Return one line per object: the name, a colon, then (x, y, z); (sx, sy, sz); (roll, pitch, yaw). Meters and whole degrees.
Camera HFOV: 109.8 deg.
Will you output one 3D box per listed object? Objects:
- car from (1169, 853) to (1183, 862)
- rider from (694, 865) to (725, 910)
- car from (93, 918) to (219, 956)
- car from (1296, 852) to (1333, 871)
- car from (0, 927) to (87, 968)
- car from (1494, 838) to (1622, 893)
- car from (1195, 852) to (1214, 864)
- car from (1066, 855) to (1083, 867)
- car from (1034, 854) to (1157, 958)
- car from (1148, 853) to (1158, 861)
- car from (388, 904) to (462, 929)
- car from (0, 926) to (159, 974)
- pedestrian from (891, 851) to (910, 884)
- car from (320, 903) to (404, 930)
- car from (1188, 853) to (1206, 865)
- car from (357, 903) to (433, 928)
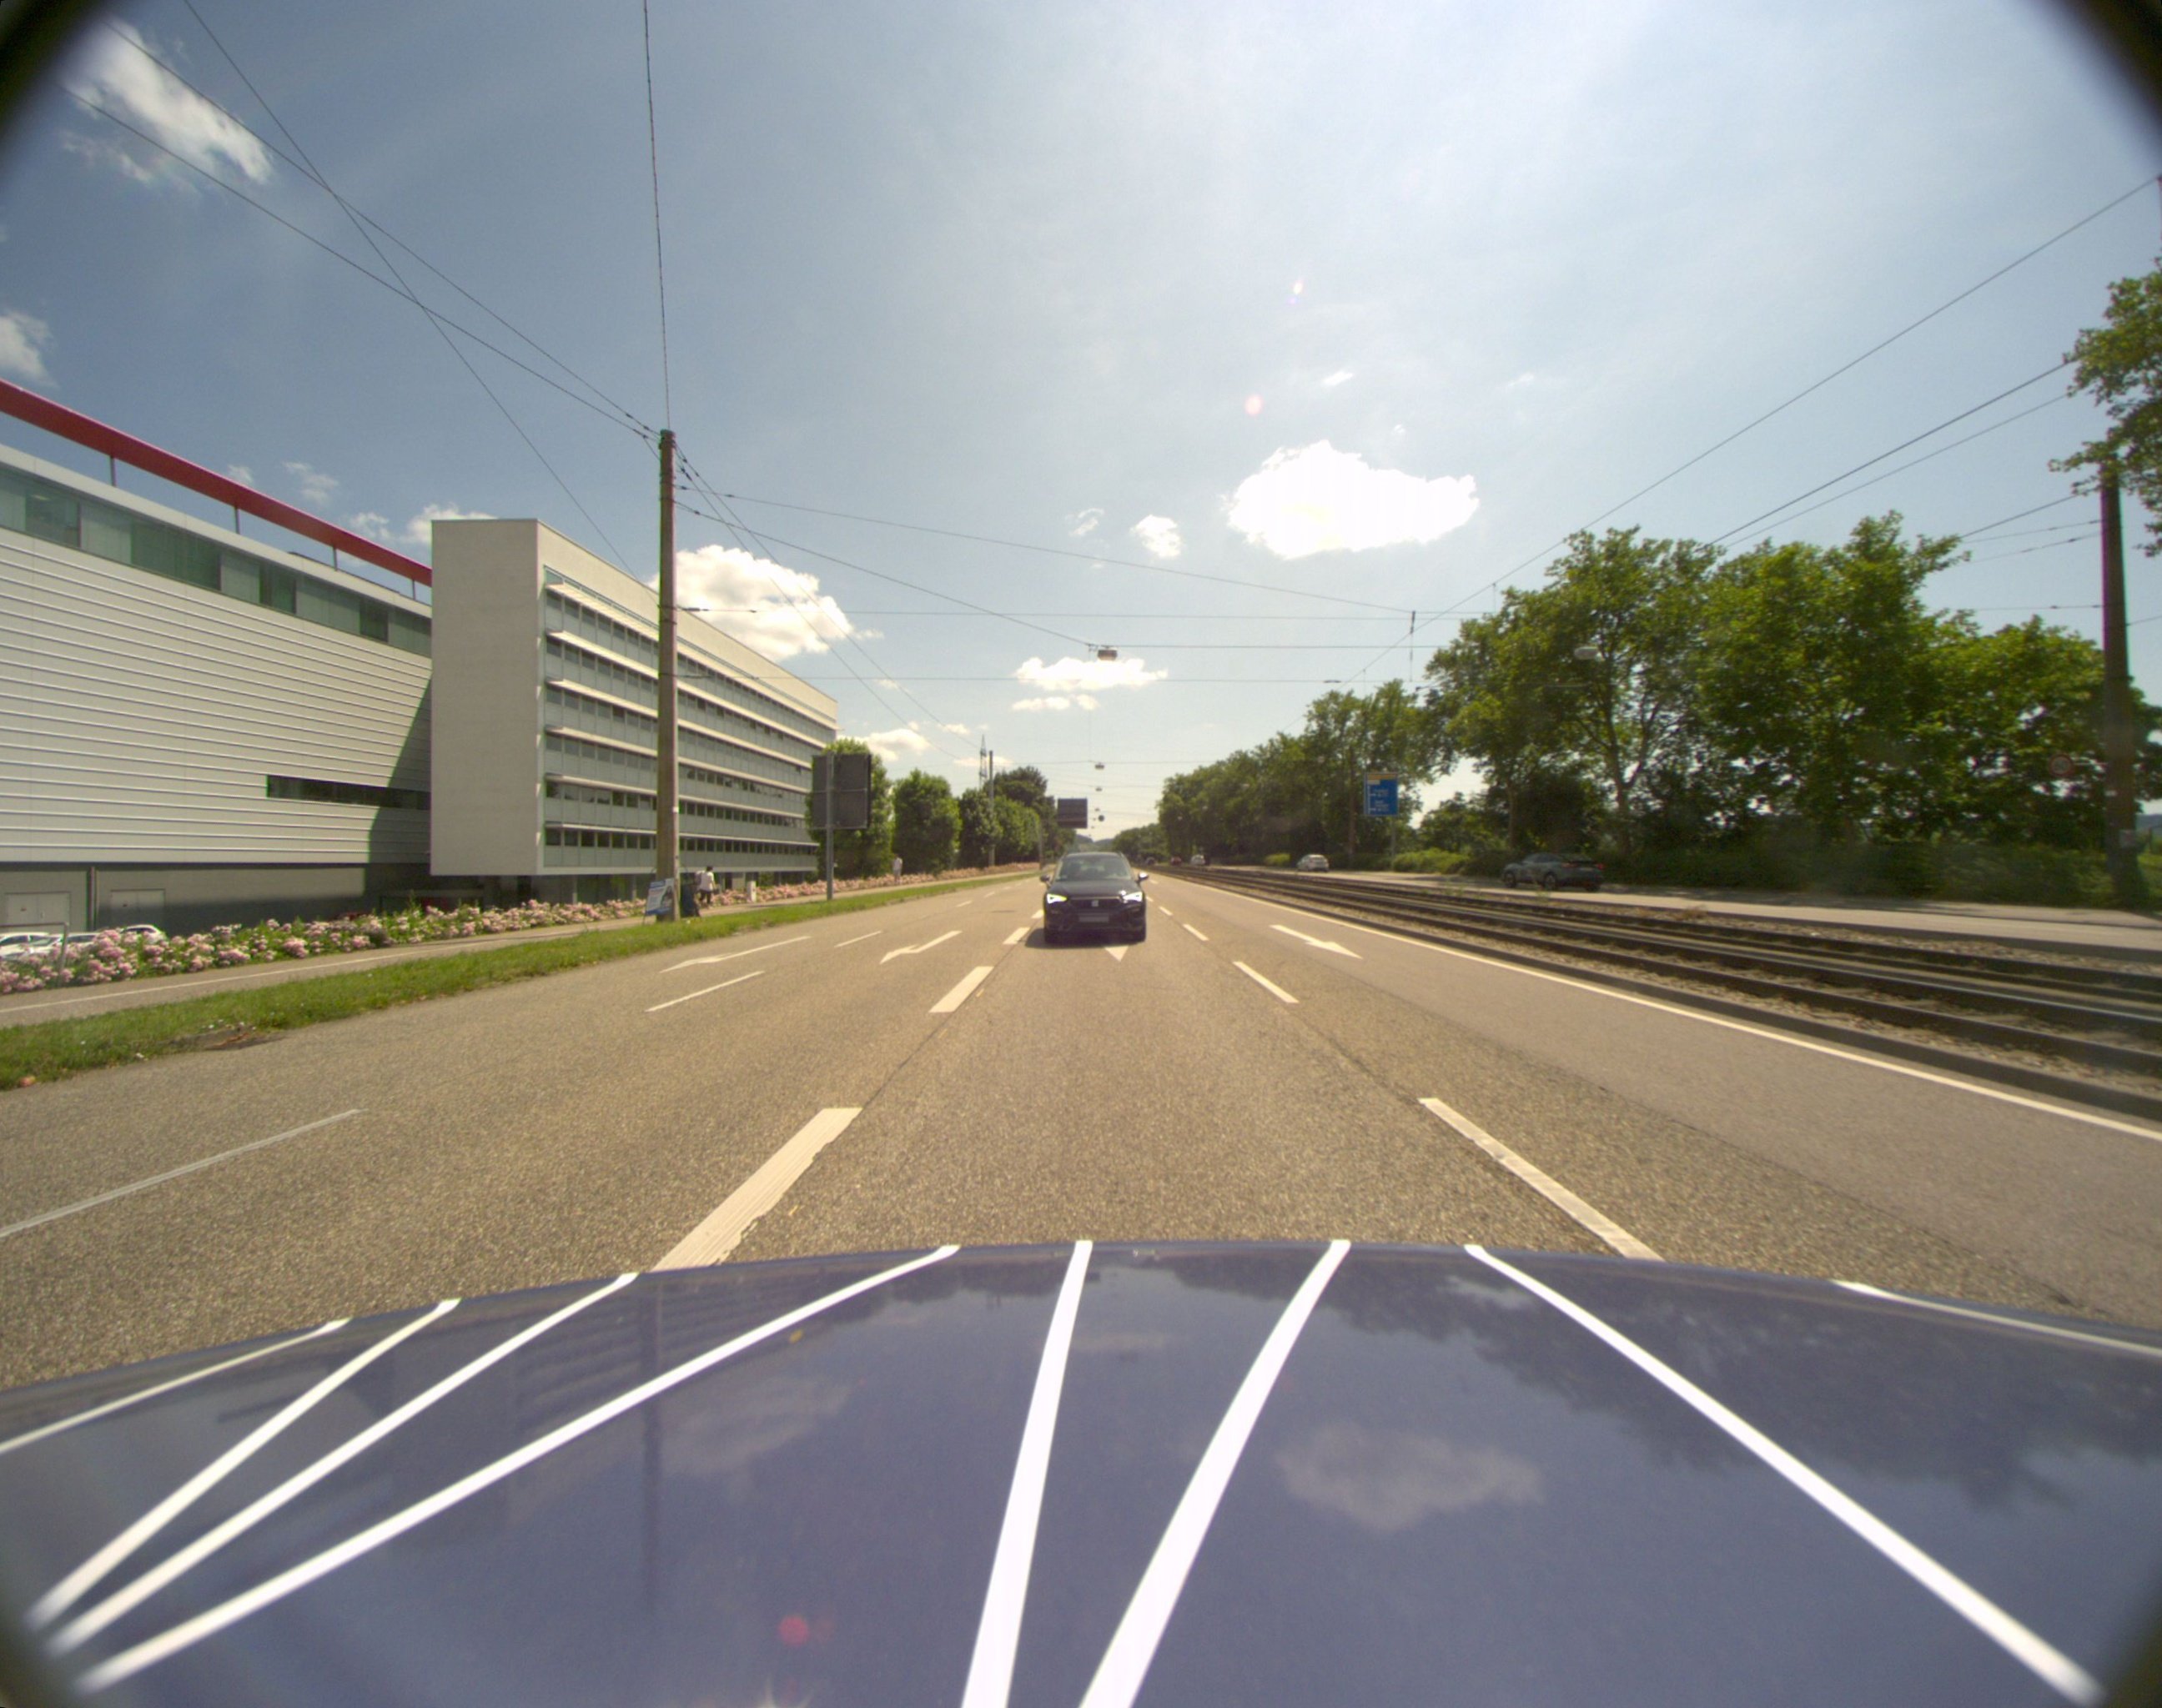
car: (18.636, 0.729, 148.943); (1.999, 1.660, 4.467); (1, 0, -1)
rider: (-12.401, 1.113, 25.389); (0.671, 1.449, 0.618); (-2, 1, 1)
car: (-51.097, 4.546, 42.097); (1.998, 1.602, 4.000); (-2, 0, 1)
car: (19.093, 0.606, 62.218); (1.827, 1.407, 3.883); (2, 0, 0)
car: (-51.387, 4.554, 36.458); (1.998, 1.602, 4.000); (-2, 0, 1)
car: (18.749, 0.379, 30.155); (1.999, 1.907, 4.407); (2, 2, -4)
car: (18.861, 0.593, 116.556); (1.999, 1.820, 4.969); (1, 0, -1)
car: (-0.751, 0.817, 89.874); (1.896, 1.331, 4.000); (-2, 0, 1)
car: (0.256, 0.815, 14.258); (1.898, 1.564, 4.511); (-1, 1, 1)
car: (17.705, 0.651, 187.088); (1.999, 1.820, 4.969); (1, 0, -1)
car: (-45.556, 4.340, 52.908); (1.609, 1.314, 4.000); (-2, 0, 1)
car: (-48.612, 4.574, 36.627); (1.998, 1.602, 5.146); (-2, 0, 1)
pedestrian: (-10.214, 0.780, 43.105); (0.758, 1.838, 0.931); (-2, 1, 3)
car: (-50.340, 4.360, 53.312); (1.998, 1.439, 4.000); (-2, 0, 1)
car: (16.029, 0.640, 105.251); (1.690, 1.574, 4.058); (2, 0, -1)
car: (-47.952, 4.287, 53.217); (1.648, 1.377, 4.000); (-2, 0, 1)
